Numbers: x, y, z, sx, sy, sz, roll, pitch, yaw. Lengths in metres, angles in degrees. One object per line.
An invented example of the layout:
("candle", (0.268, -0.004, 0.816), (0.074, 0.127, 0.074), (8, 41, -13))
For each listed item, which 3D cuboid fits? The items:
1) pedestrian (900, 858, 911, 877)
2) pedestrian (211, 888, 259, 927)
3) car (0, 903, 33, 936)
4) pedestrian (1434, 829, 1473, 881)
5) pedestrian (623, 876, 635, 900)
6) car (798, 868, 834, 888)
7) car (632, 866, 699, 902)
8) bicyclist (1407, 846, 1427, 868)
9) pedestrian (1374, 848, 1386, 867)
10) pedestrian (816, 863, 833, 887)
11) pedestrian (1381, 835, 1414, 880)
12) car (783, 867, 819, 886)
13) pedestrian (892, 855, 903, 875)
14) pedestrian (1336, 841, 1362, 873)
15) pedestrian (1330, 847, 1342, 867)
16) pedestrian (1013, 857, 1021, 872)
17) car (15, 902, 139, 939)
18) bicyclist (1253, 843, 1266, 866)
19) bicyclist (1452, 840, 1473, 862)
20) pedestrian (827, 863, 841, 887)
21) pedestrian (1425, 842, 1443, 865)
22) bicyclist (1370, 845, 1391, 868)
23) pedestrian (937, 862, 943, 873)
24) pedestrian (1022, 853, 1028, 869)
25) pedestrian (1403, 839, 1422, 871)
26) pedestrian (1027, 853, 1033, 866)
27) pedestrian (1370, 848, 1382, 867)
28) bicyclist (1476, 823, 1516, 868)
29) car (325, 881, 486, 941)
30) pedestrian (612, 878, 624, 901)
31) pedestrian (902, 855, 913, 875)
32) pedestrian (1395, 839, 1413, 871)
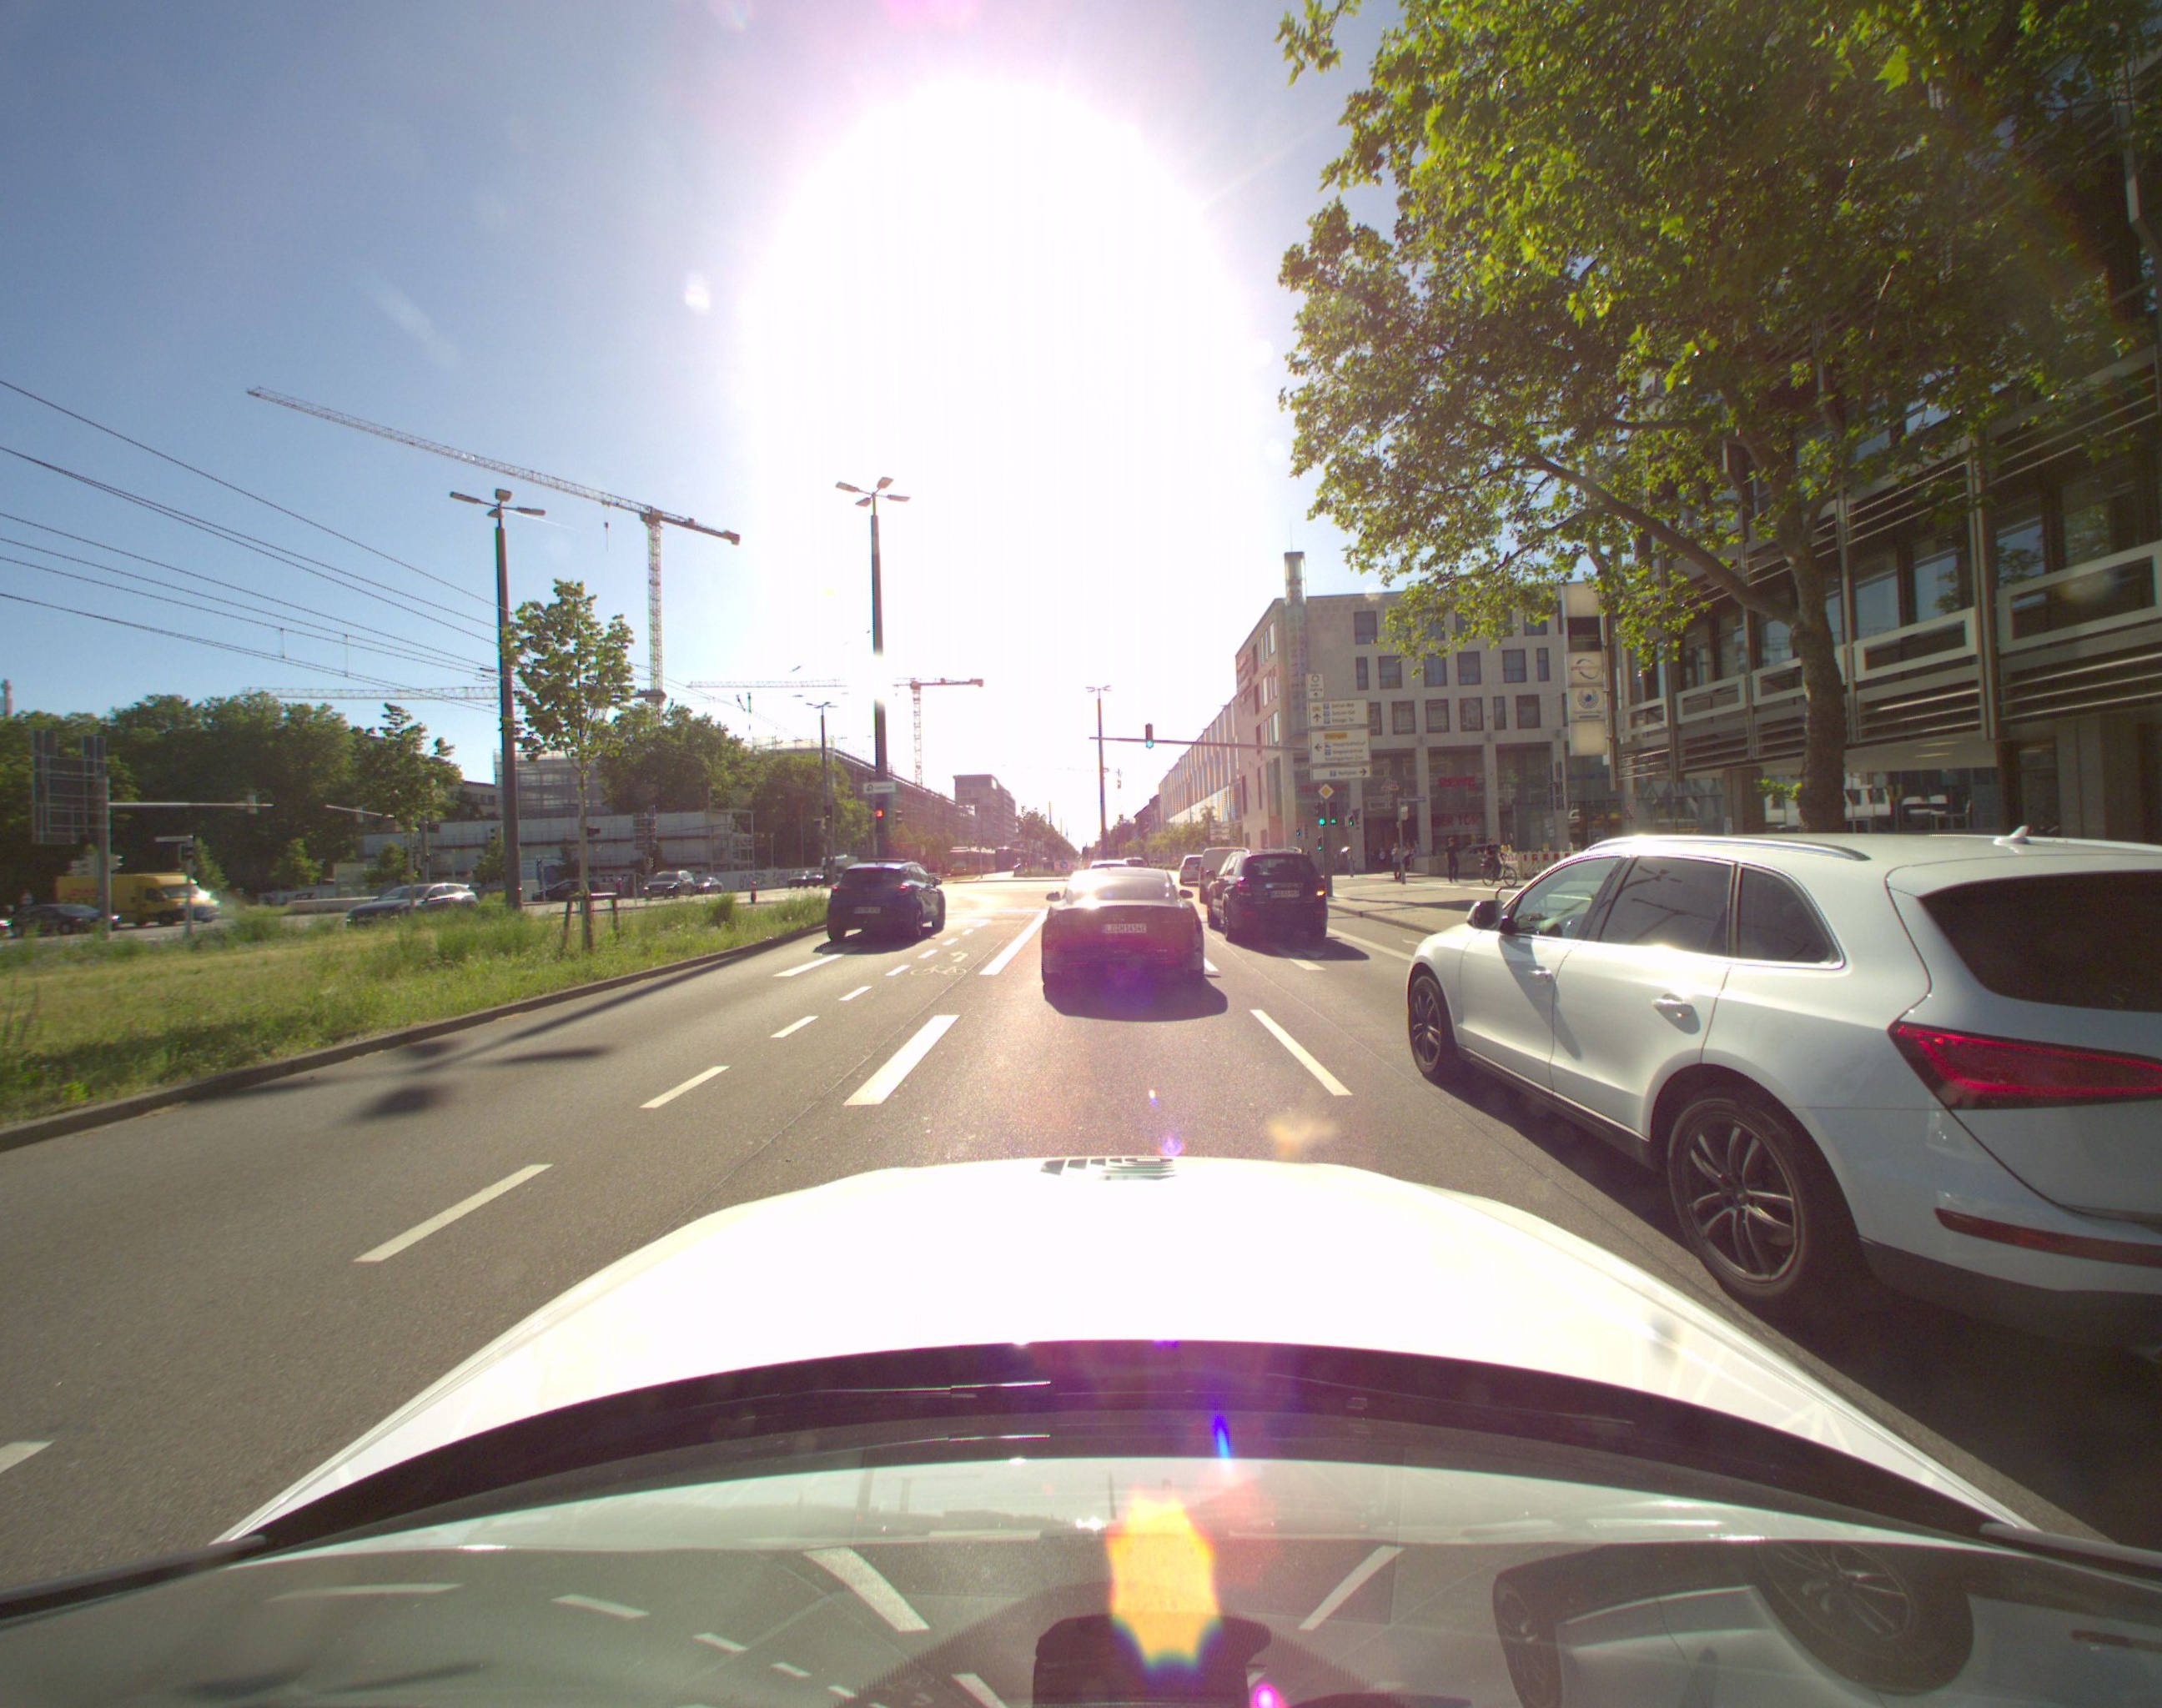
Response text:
("pedestrian", (-17.085, 1.323, 79.113), (0.797, 1.823, 0.976), (-2, 0, -2))
("pedestrian", (-39.305, 2.478, 37.854), (1.187, 1.685, 0.948), (-1, 1, 2))
("car", (-53.942, 3.242, 39.532), (3.966, 1.539, 1.907), (-2, -1, 6))
("pedestrian", (14.975, 0.048, 32.785), (0.945, 2.013, 1.077), (-2, 0, -7))
("pedestrian", (-35.415, 2.643, 63.783), (0.704, 1.823, 0.589), (-2, -1, -37))
("car", (-24.514, 2.218, 75.485), (1.939, 1.707, 4.366), (-2, -1, 0))
("car", (-25.161, 1.797, 49.505), (1.864, 1.955, 4.001), (-2, 0, 1))
("bicyclist", (22.653, 0.199, 54.910), (0.928, 1.396, 1.078), (-2, -1, 4))
("pedestrian", (25.921, 0.324, 70.526), (0.559, 1.608, 0.742), (-3, 0, -36))
("pedestrian", (-20.126, 1.666, 63.924), (0.792, 1.823, 0.887), (-2, -1, 33))
("pedestrian", (14.728, 0.151, 37.932), (0.947, 2.013, 1.076), (-2, 0, -10))
("car", (-28.654, 2.275, 83.513), (1.986, 1.707, 4.561), (-2, -1, 1))
("pedestrian", (-17.377, 1.038, 77.064), (0.797, 1.823, 0.976), (-2, 0, -2))
("pedestrian", (15.894, 0.171, 48.355), (0.963, 1.801, 1.523), (-4, -1, 1))
("pedestrian", (21.209, 0.249, 67.724), (0.745, 1.608, 0.556), (-2, 0, -1))
("pedestrian", (-7.575, 1.220, 95.909), (0.872, 1.775, 1.188), (0, 0, -2))
("car", (-48.643, 3.194, 39.499), (3.966, 1.539, 1.907), (-2, -1, 6))
("bicyclist", (13.693, 0.024, 62.465), (0.723, 1.737, 0.996), (-2, -1, -3))
("bicyclist", (25.641, -0.213, 54.770), (0.928, 1.433, 1.042), (-2, -1, 4))
("pedestrian", (-19.848, 1.691, 65.469), (0.797, 1.823, 0.976), (-2, 0, -2))
("pedestrian", (27.104, -0.047, 62.543), (0.974, 1.684, 0.860), (-2, -1, -1))
("bicyclist", (20.236, 0.187, 55.083), (1.017, 1.476, 1.073), (-2, -1, 5))
("pedestrian", (-16.629, 1.616, 96.173), (0.669, 1.226, 0.506), (0, -1, -2))
("pedestrian", (-6.407, 0.778, 93.110), (0.701, 1.775, 0.959), (0, 0, -2))
("pedestrian", (17.488, 0.057, 42.953), (0.659, 1.612, 0.525), (-4, -1, -8))
("pedestrian", (-7.143, 0.794, 114.886), (0.669, 1.811, 1.074), (-2, -1, 0))
("pedestrian", (25.389, 0.322, 70.127), (0.559, 1.608, 0.742), (-3, 0, -35))
("bicyclist", (14.097, -0.298, 27.693), (0.878, 1.477, 0.883), (-2, 0, 1))
("car", (-22.615, 1.851, 27.501), (1.818, 1.689, 4.096), (-2, 0, 4))
("pedestrian", (-37.234, 2.853, 65.451), (0.704, 1.823, 0.589), (-2, -1, -37))
("pedestrian", (-16.153, 0.980, 75.890), (0.797, 1.823, 0.976), (-2, 0, -2))
("pedestrian", (17.281, 0.059, 43.574), (0.659, 1.612, 0.525), (-4, -1, -8))
